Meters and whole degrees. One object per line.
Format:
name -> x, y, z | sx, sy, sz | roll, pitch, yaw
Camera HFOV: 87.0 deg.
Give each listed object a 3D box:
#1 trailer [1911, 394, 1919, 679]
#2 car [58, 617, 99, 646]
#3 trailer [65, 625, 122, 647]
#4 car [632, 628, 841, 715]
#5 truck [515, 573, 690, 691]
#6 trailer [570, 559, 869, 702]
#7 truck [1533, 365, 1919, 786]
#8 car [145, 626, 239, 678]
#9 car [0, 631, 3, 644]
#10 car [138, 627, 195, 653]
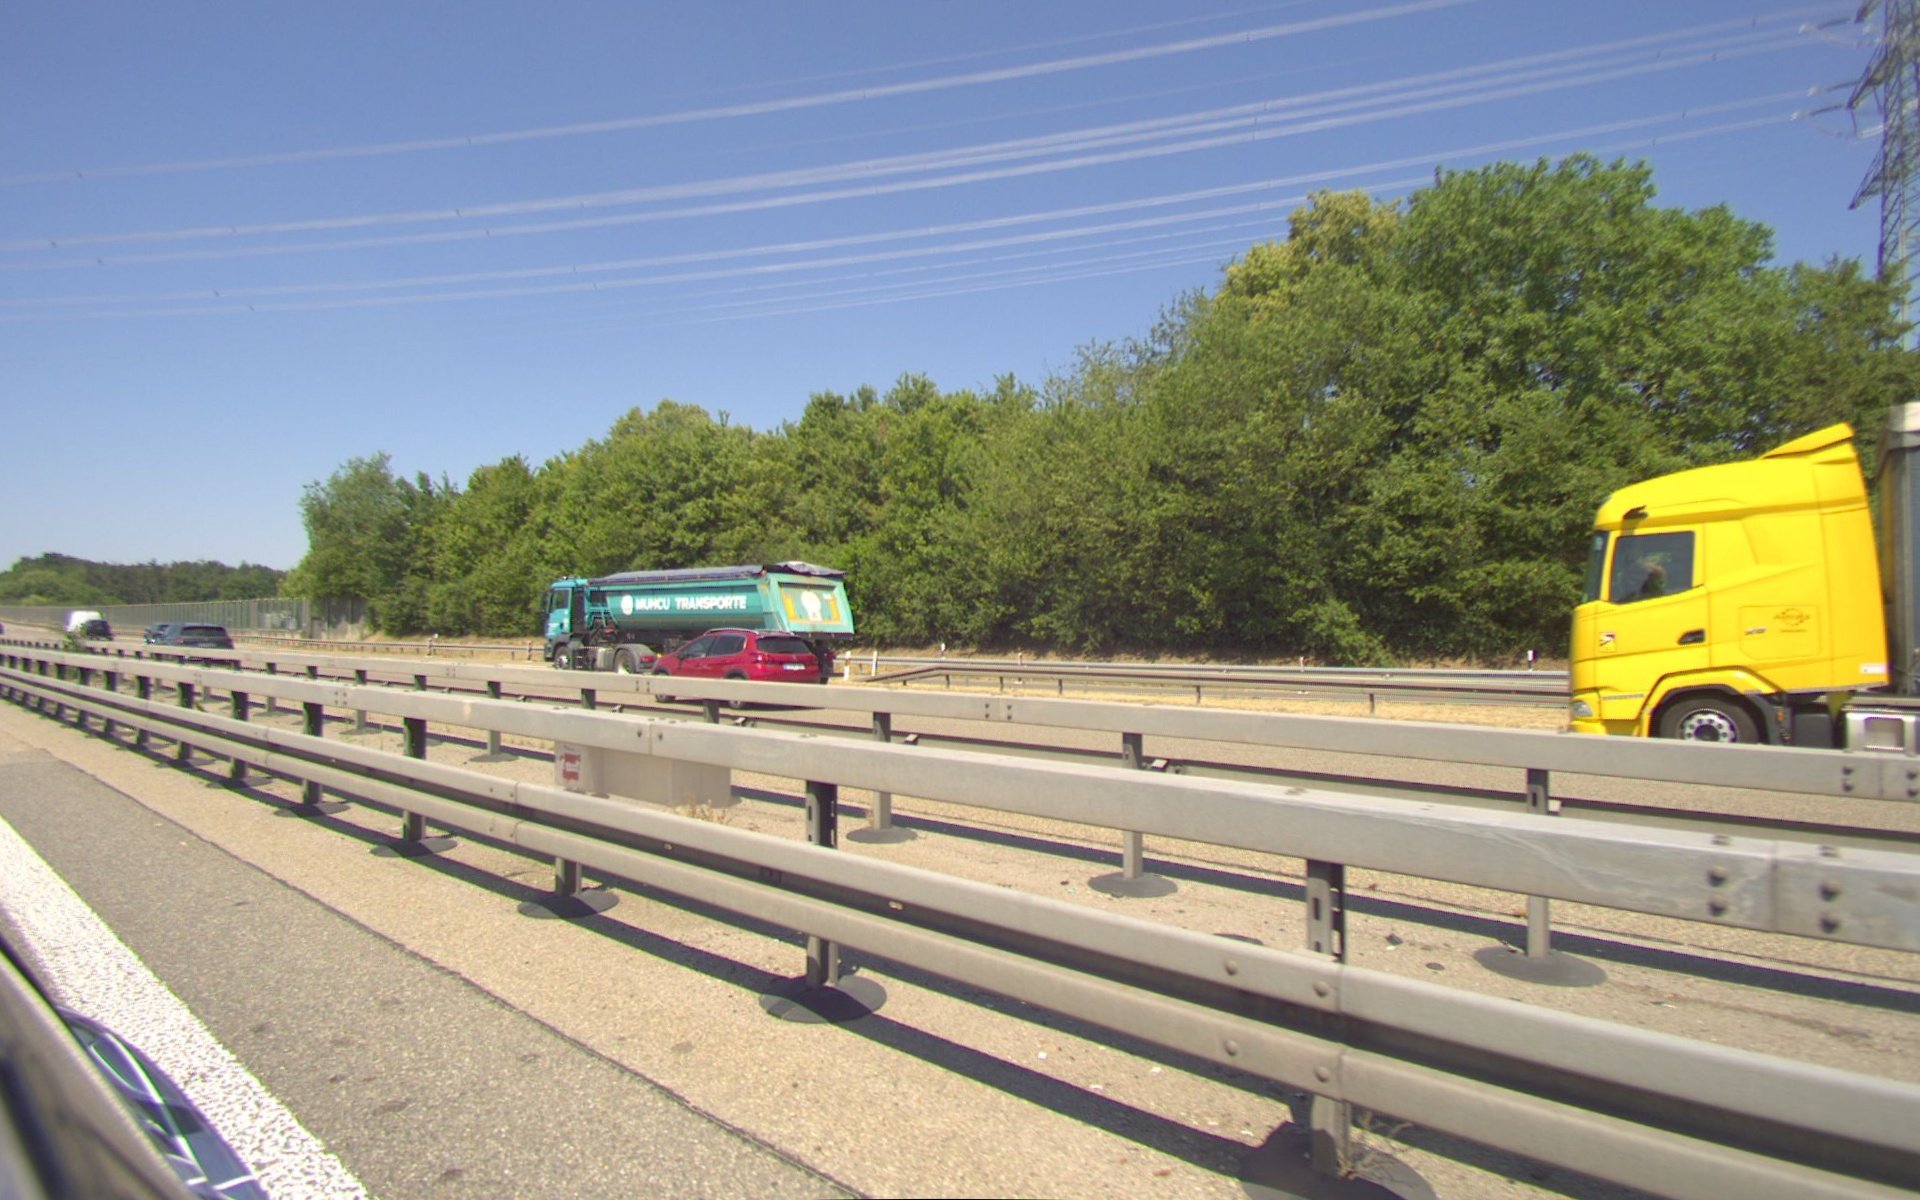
trailer -> 16.307, -0.382, 7.070 | 13.803, 4.374, 3.142 | -2, -2, 41
car -> -84.073, 3.011, 96.471 | 6.001, 2.660, 2.087 | -1, -3, 41
trailer -> -79.193, 3.284, 92.440 | 6.716, 1.961, 2.737 | -1, -3, 39
car -> -4.540, 1.375, 20.225 | 4.381, 1.542, 1.763 | -1, -5, 41
truck -> -11.160, 0.976, 31.446 | 5.328, 3.326, 2.884 | -2, -2, 41
trailer -> -6.896, 0.837, 27.727 | 9.705, 3.326, 2.883 | -2, -2, 41
truck -> 9.607, -0.196, 12.820 | 3.510, 4.374, 3.142 | -2, -2, 40
car -> -25.970, 1.714, 34.179 | 3.998, 1.637, 1.763 | -1, -2, 41
car -> -113.156, 4.288, 118.075 | 4.353, 1.485, 1.763 | -2, -5, 42
car -> -55.955, 2.815, 71.321 | 4.508, 1.813, 2.136 | -1, -3, 39
